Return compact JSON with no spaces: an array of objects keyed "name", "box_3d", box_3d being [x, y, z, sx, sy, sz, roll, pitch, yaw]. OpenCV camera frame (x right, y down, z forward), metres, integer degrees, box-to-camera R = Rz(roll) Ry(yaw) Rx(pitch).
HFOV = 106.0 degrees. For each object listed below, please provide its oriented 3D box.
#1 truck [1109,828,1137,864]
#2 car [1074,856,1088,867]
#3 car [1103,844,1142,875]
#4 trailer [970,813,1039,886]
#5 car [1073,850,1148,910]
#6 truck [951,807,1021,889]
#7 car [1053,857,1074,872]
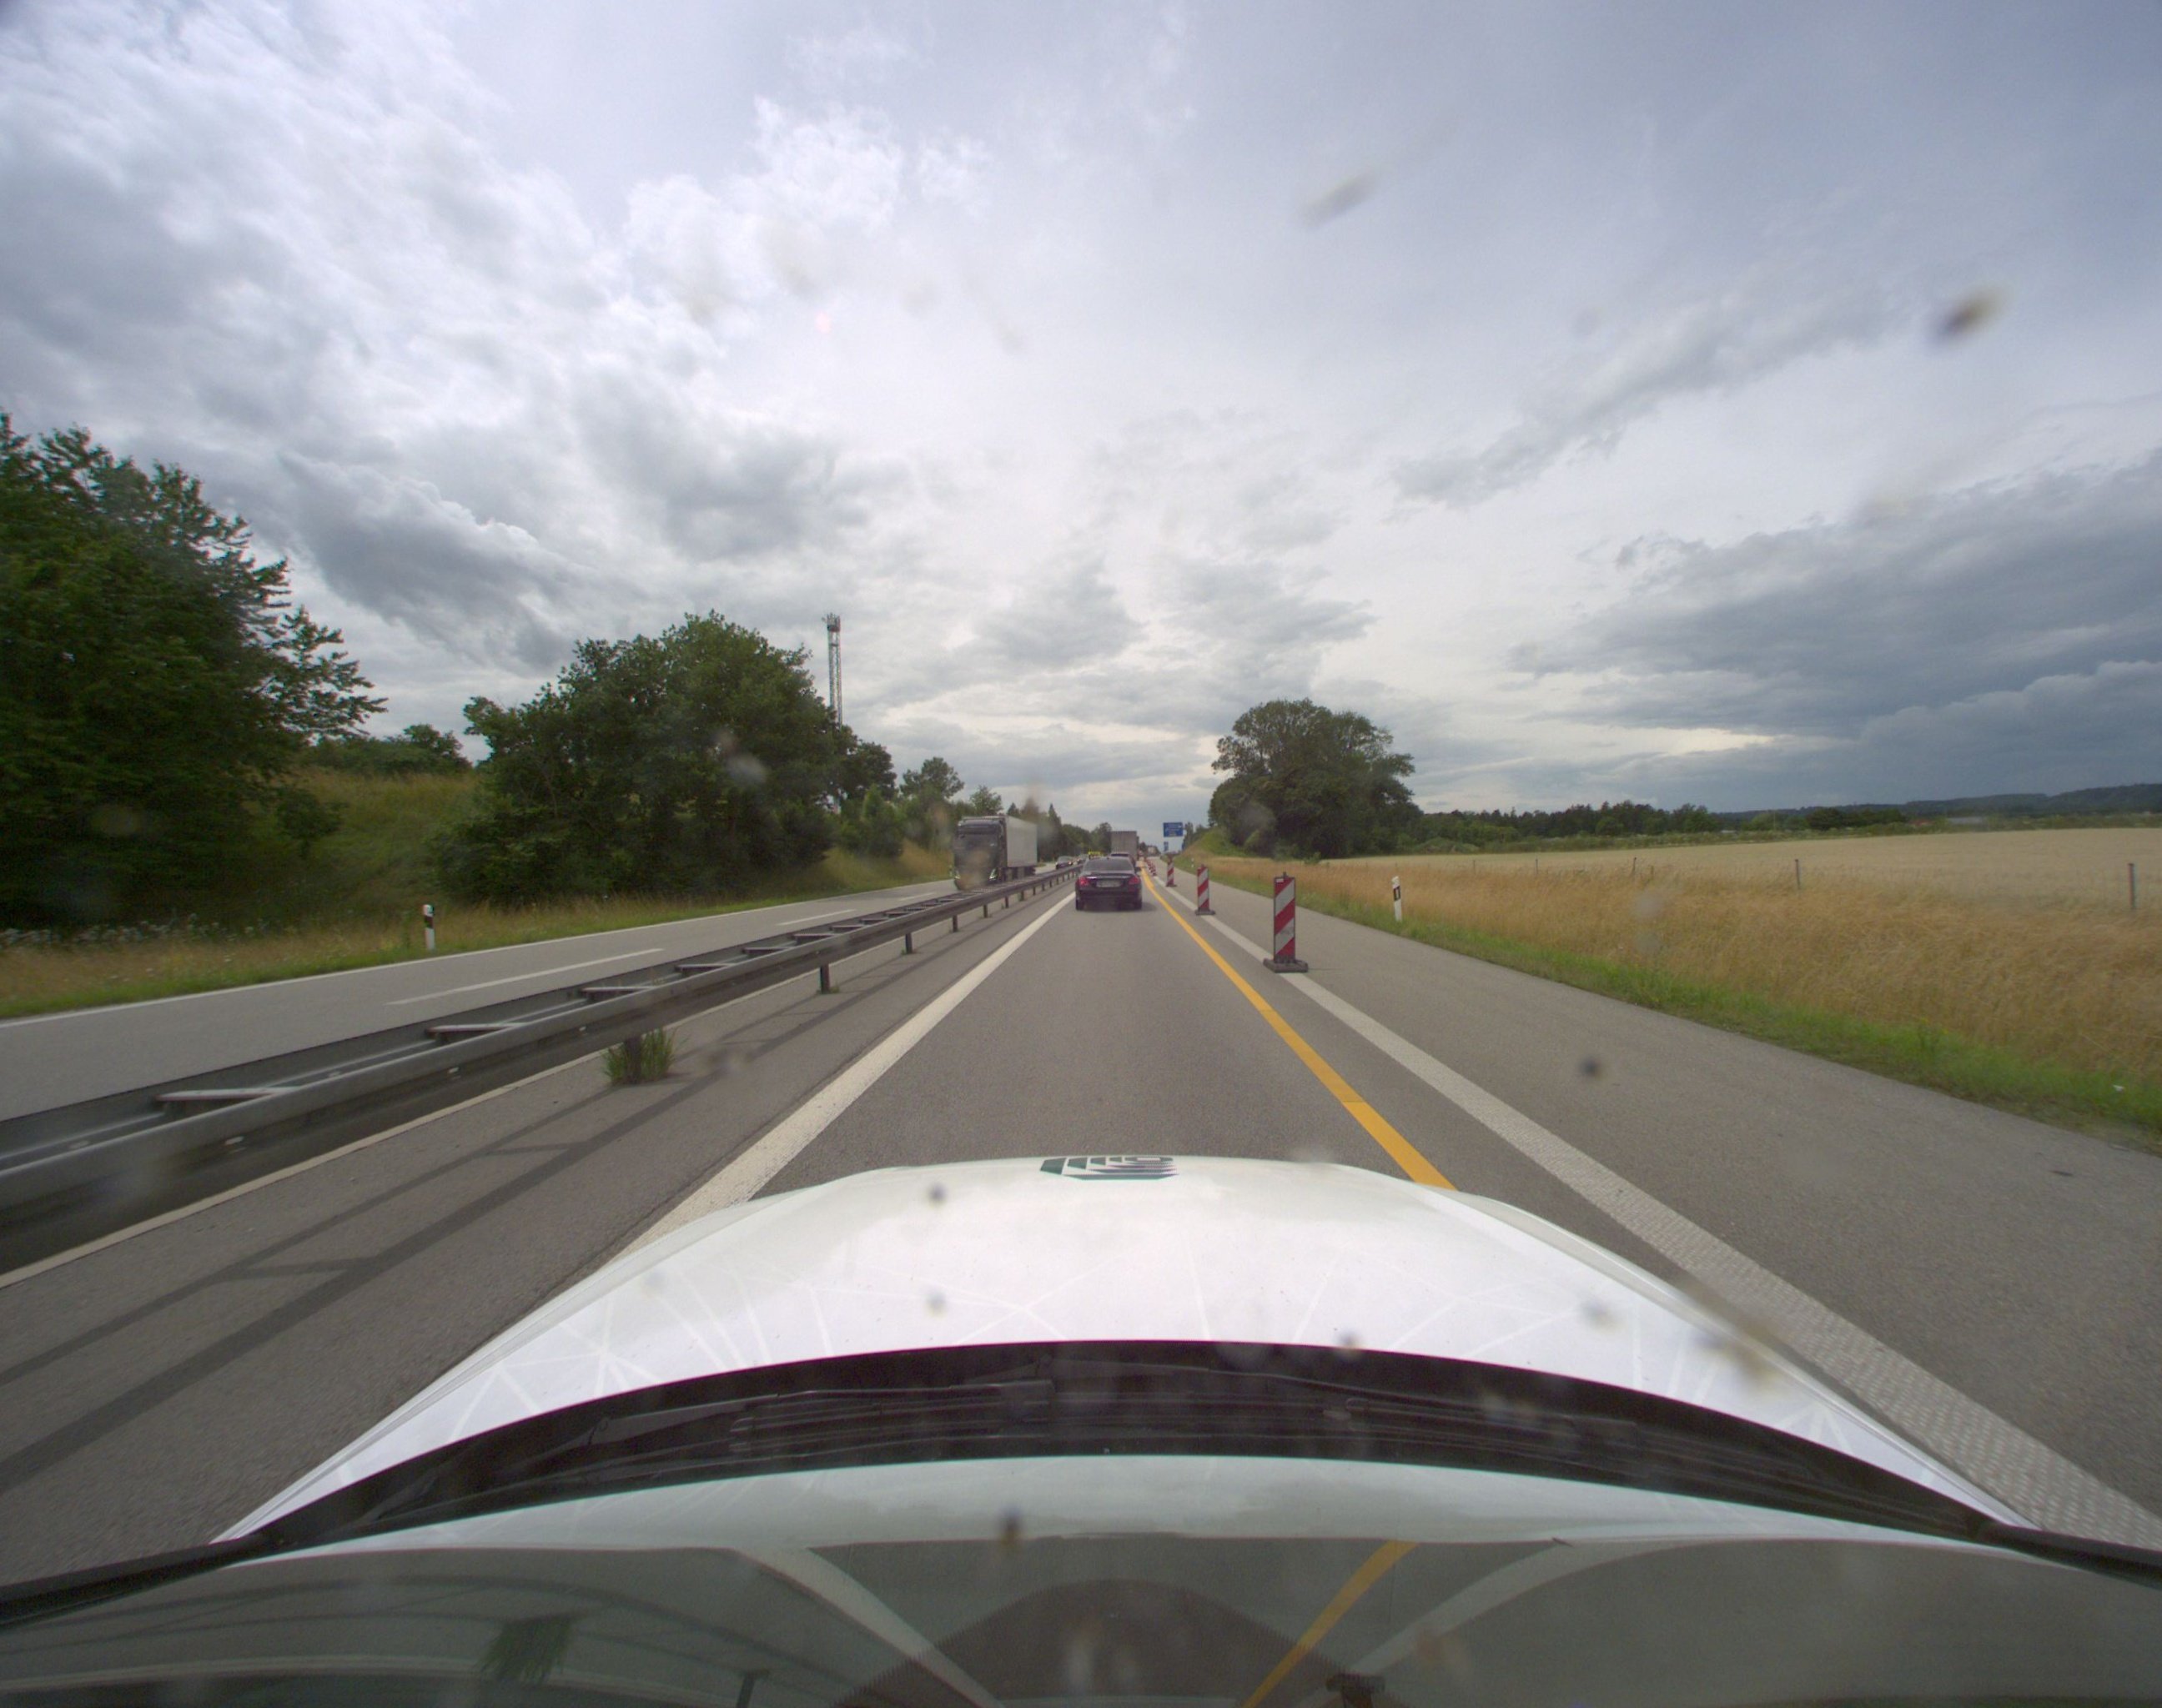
[{"name":"truck","box_3d":[4.262,-0.725,83.041,2.578,3.524,4.812,0,-1,0]},{"name":"car","box_3d":[0.010,1.126,121.939,1.985,1.618,4.003,0,-1,3]},{"name":"car","box_3d":[2.750,0.356,55.183,1.992,2.014,3.990,0,-1,-7]},{"name":"trailer","box_3d":[-4.700,-0.169,52.798,2.628,4.170,12.198,0,-1,3]},{"name":"car","box_3d":[0.930,0.712,23.309,1.786,1.560,4.008,0,-1,7]},{"name":"truck","box_3d":[-5.129,-0.264,45.214,2.628,4.170,6.991,0,-1,3]},{"name":"car","box_3d":[-1.922,1.115,90.283,1.985,1.618,4.003,0,-1,3]}]
